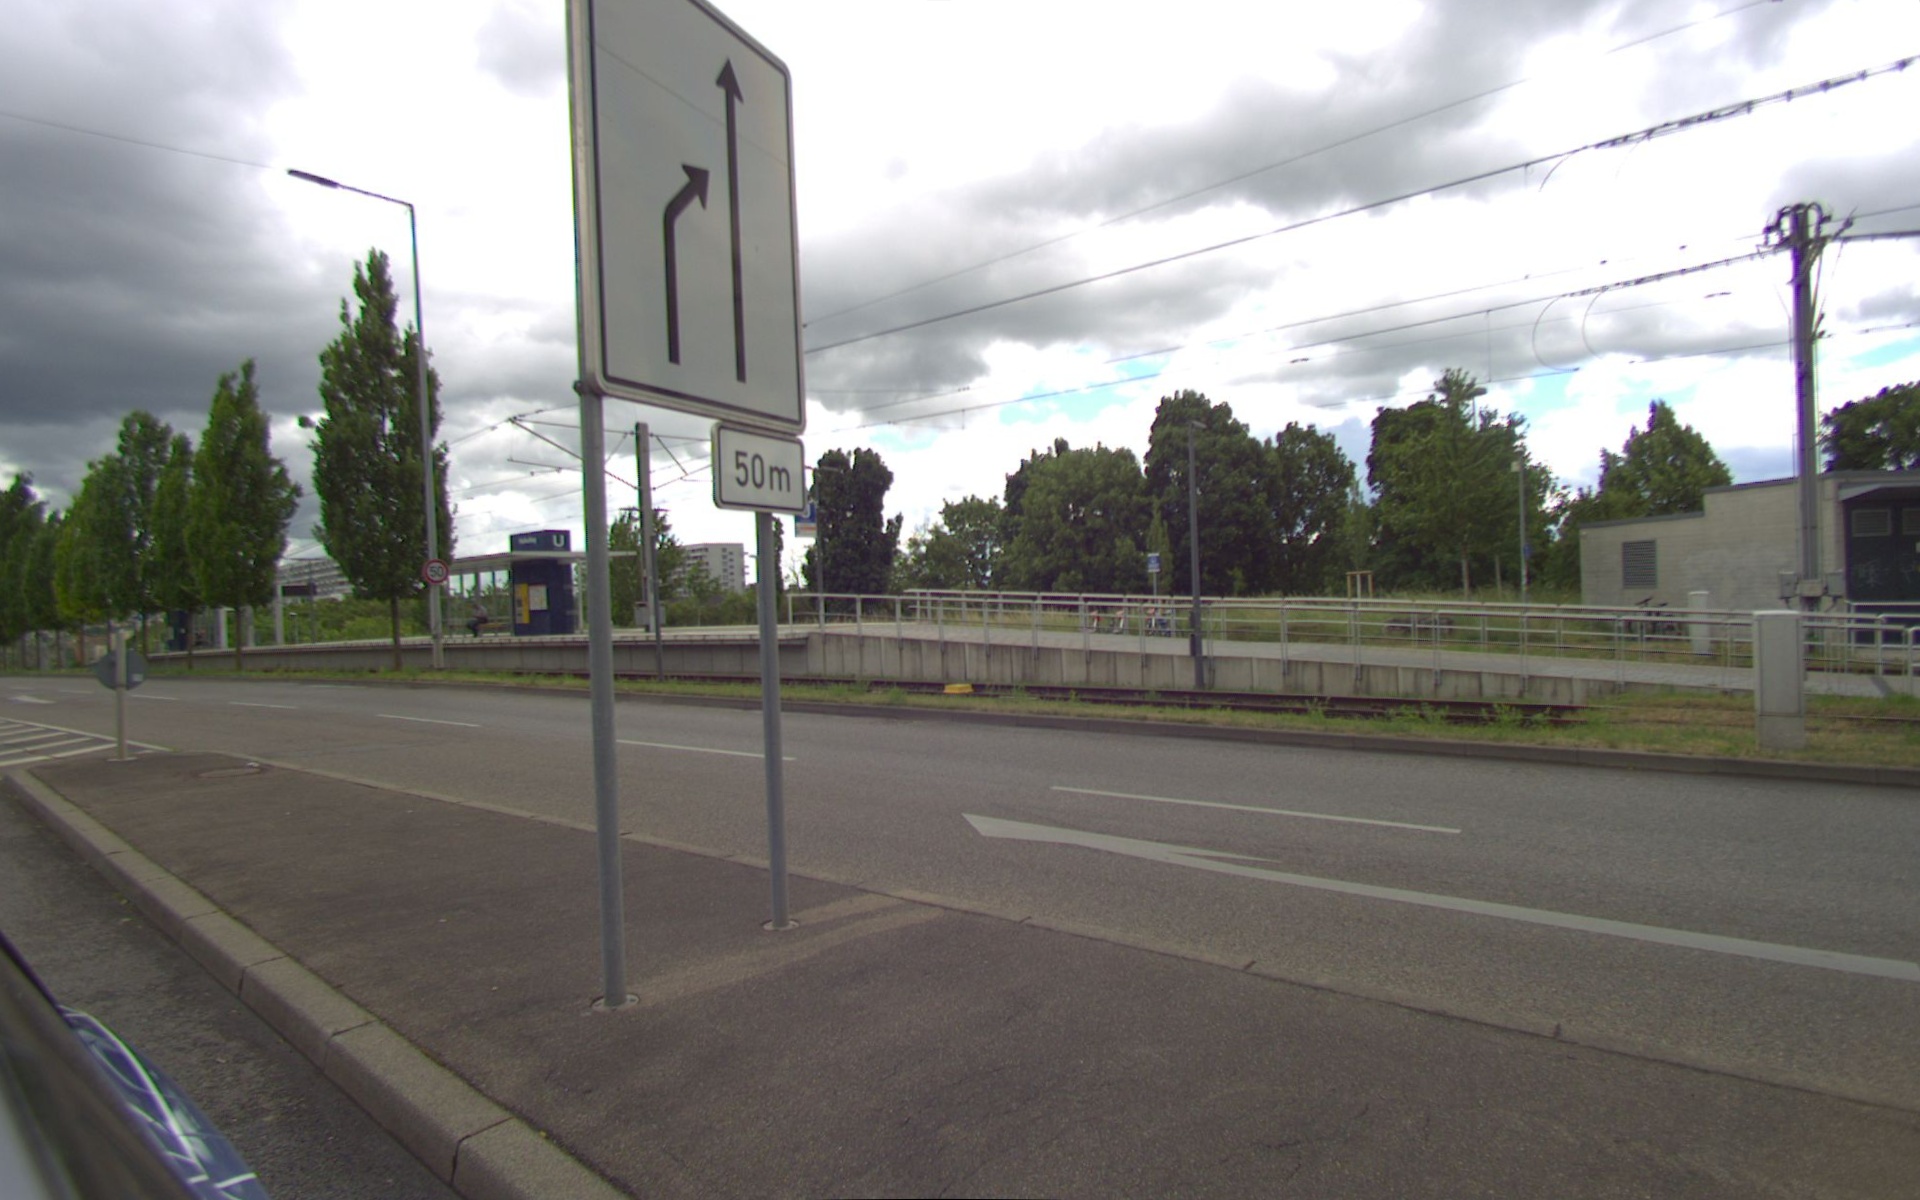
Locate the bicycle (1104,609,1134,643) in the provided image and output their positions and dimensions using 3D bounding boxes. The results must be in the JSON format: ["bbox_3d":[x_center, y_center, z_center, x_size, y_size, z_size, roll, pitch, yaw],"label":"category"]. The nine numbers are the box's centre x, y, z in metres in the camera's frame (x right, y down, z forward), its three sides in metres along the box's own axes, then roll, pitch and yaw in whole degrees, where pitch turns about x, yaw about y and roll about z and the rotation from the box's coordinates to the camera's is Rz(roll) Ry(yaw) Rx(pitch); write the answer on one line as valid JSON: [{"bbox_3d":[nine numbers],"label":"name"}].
[{"bbox_3d":[5.425,0.873,34.454,0.490,1.095,1.466,-2,-1,30],"label":"bicycle"}]

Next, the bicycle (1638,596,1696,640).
[{"bbox_3d":[18.180,0.462,26.055,0.486,1.095,1.480,-1,-1,3],"label":"bicycle"}]

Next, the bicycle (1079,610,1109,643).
[{"bbox_3d":[4.668,0.902,35.156,0.490,1.095,1.466,-2,-1,30],"label":"bicycle"}]

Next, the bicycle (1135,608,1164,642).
[{"bbox_3d":[6.365,0.822,33.943,0.490,1.095,1.466,-2,-1,30],"label":"bicycle"}]

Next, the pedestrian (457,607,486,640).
[{"bbox_3d":[-18.266,0.885,37.867,0.781,1.211,0.656,-2,-1,33],"label":"pedestrian"}]

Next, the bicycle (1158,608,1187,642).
[{"bbox_3d":[7.031,0.821,33.463,0.490,1.095,1.466,-2,-1,30],"label":"bicycle"}]
